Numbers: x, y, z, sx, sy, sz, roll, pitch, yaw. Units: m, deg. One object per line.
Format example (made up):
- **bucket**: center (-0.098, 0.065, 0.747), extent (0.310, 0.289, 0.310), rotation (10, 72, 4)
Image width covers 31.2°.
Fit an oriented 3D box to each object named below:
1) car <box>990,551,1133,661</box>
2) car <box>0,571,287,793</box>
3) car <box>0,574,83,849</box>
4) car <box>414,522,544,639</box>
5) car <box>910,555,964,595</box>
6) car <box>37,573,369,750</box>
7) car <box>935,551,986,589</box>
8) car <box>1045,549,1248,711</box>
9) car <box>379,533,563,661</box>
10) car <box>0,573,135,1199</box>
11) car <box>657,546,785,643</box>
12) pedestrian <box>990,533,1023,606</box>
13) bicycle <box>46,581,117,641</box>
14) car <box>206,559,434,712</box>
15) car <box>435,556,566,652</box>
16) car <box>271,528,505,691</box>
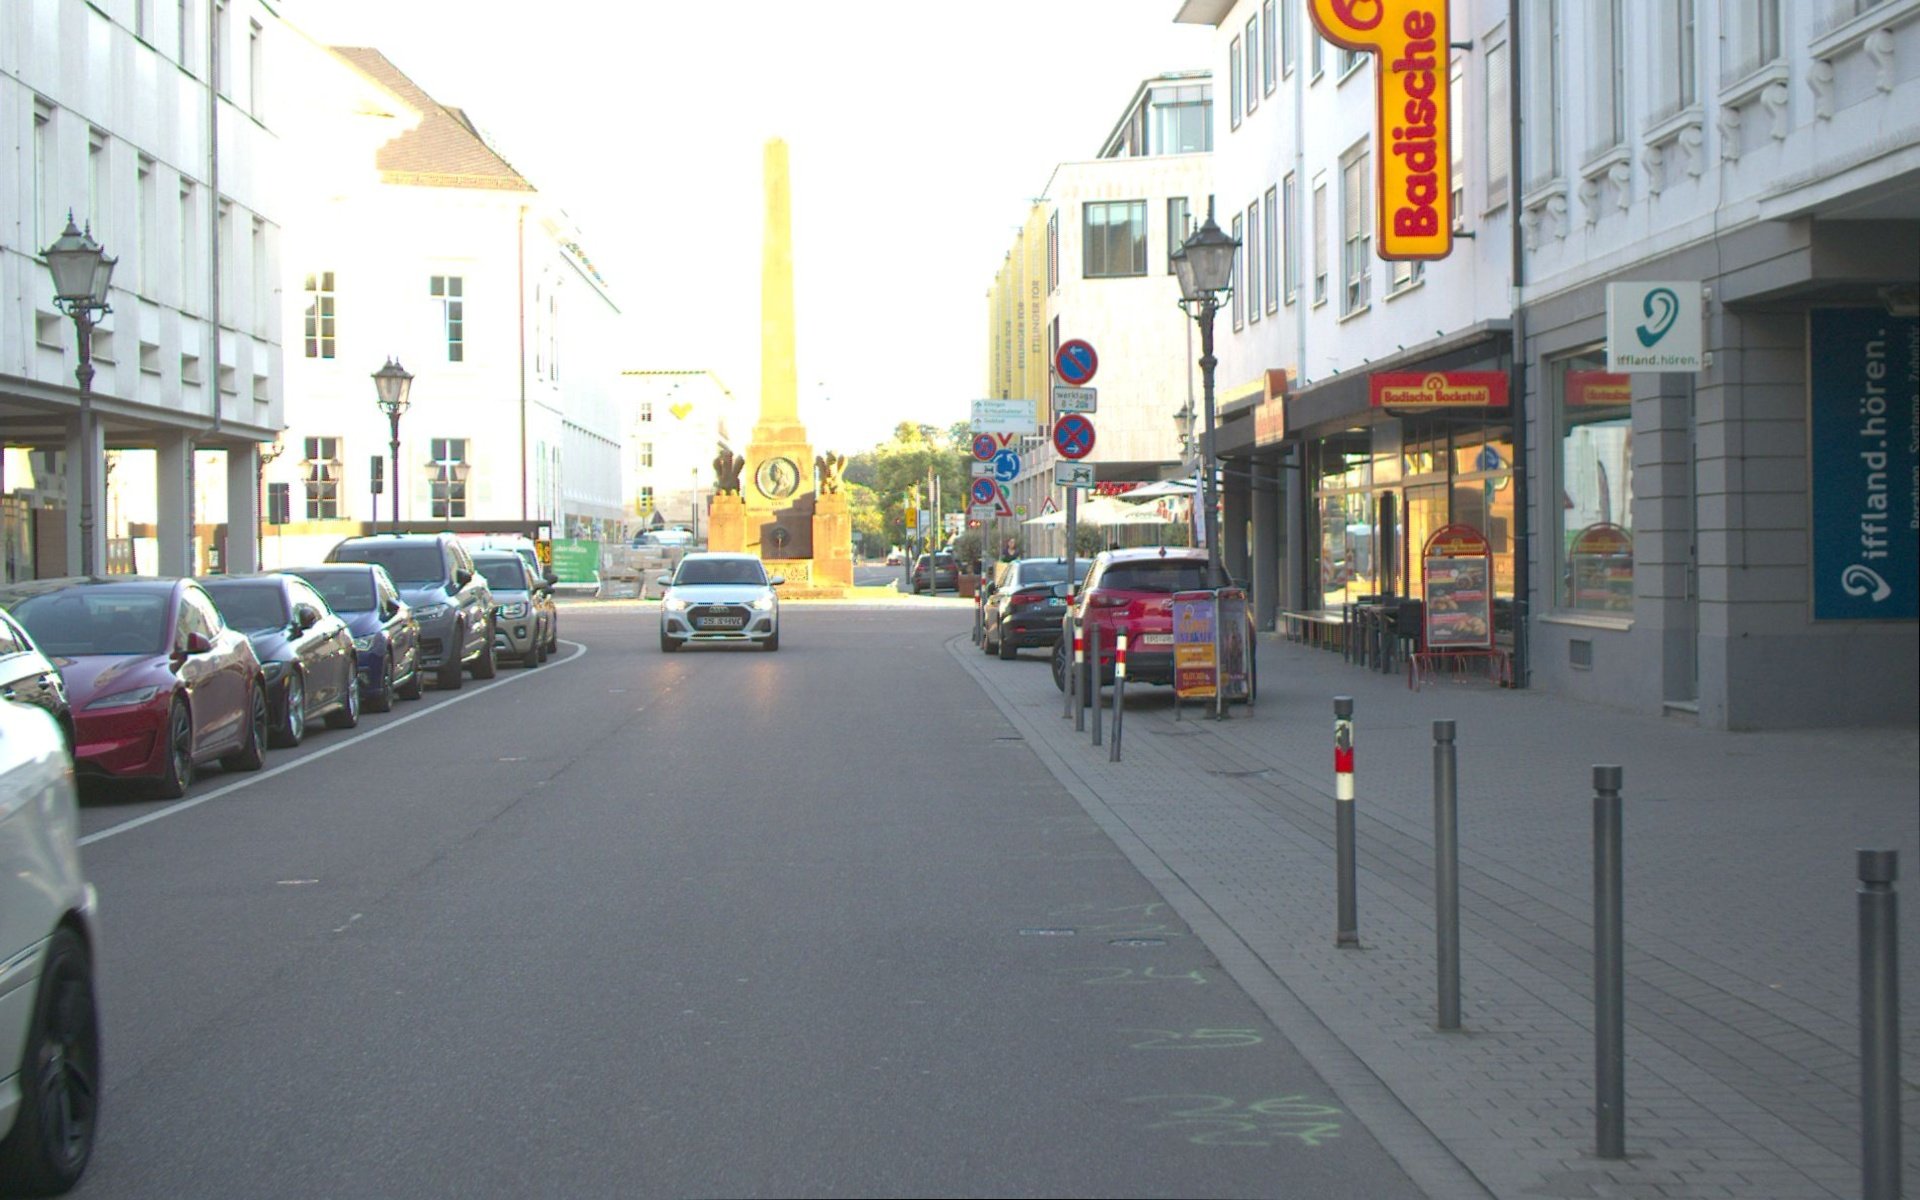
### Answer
- **car**: center (1.380, 0.051, 48.278), extent (1.801, 1.459, 4.117), rotation (0, 1, -1)
- **car**: center (-6.085, 0.523, 24.557), extent (1.785, 1.404, 4.088), rotation (-1, 1, -1)
- **car**: center (-5.853, 0.599, 17.439), extent (1.785, 1.404, 4.088), rotation (-1, 1, -1)
- **car**: center (-7.855, -0.347, 55.946), extent (1.993, 1.809, 4.785), rotation (0, 1, -9)
- **car**: center (-0.873, -0.958, 129.917), extent (1.993, 1.459, 4.000), rotation (-1, 1, 0)
- **car**: center (-6.289, 0.468, 29.018), extent (1.993, 1.349, 4.000), rotation (0, 1, -1)
- **car**: center (0.011, -1.221, 138.402), extent (1.993, 1.459, 4.000), rotation (-1, 1, 0)
- **car**: center (1.813, 0.257, 34.434), extent (1.759, 1.518, 3.677), rotation (0, 1, -1)
- **car**: center (-6.585, -0.071, 46.657), extent (1.993, 1.656, 4.000), rotation (0, 1, -1)
- **car**: center (-2.892, 0.683, 6.339), extent (1.785, 1.404, 4.088), rotation (-1, 1, -1)
- **car**: center (-3.616, -0.109, 52.579), extent (1.764, 1.417, 4.000), rotation (0, 1, -1)
- **pedestrian**: center (1.057, -0.698, 77.660), extent (0.690, 1.642, 0.696), rotation (-1, 1, -2)
- **bicycle**: center (-14.913, 0.184, 58.412), extent (0.733, 0.980, 2.336), rotation (0, 1, -3)
- **car**: center (-6.375, 0.310, 34.603), extent (1.673, 1.395, 4.001), rotation (-1, 1, -2)
- **car**: center (-6.778, 0.025, 51.014), extent (1.677, 1.349, 4.106), rotation (0, 1, -4)
- **car**: center (-6.536, 0.068, 39.744), extent (1.993, 1.722, 4.516), rotation (-2, 1, -1)
